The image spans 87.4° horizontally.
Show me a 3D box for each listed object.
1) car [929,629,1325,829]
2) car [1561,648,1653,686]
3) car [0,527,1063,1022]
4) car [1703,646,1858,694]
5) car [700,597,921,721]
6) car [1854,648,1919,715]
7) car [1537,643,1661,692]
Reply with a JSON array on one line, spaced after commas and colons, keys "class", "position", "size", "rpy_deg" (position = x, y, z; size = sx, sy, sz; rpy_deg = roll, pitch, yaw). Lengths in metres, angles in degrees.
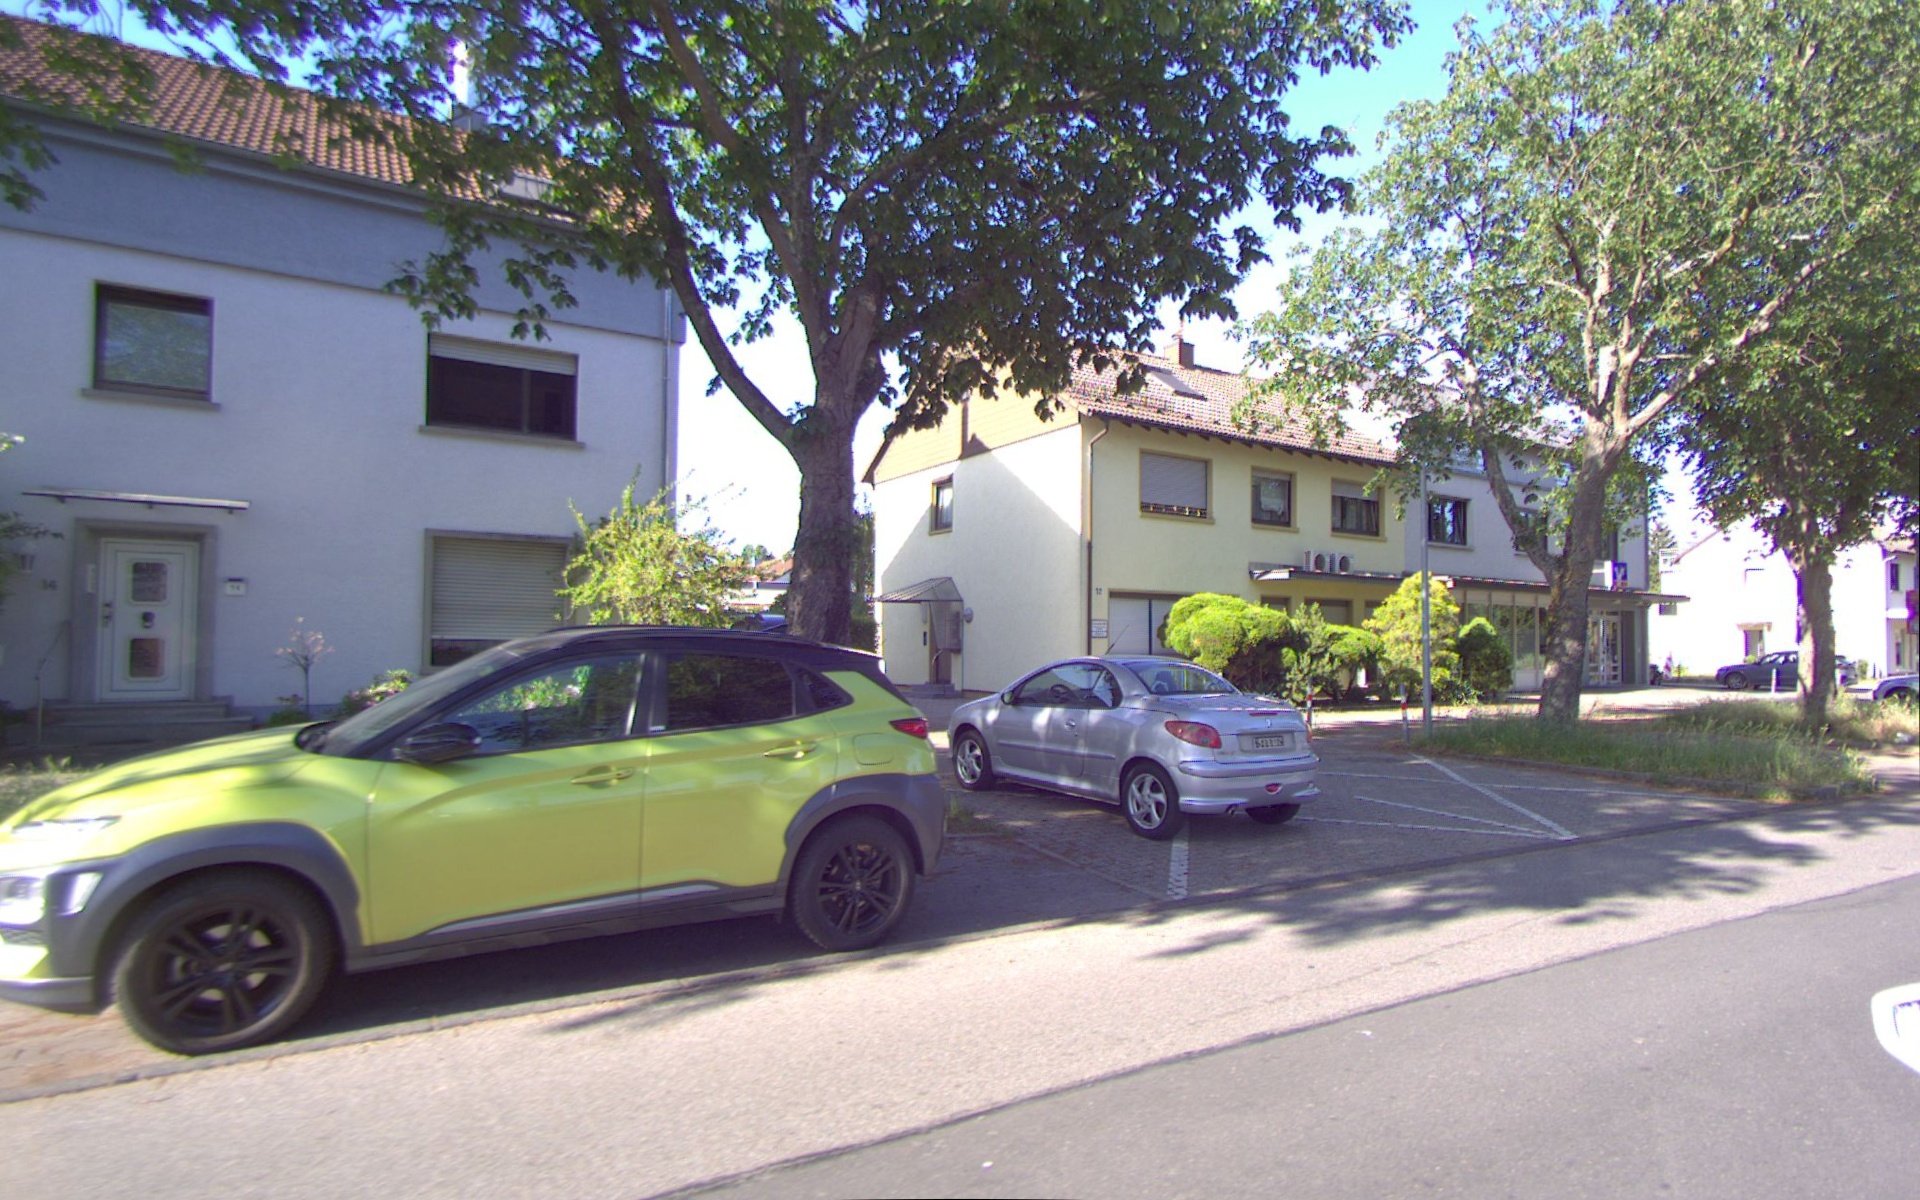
[{"class": "car", "position": [1.291, 0.983, 9.221], "size": [1.593, 1.319, 3.747], "rpy_deg": [0, 0, -30]}, {"class": "car", "position": [24.284, 2.492, 37.690], "size": [3.470, 1.253, 1.533], "rpy_deg": [1, 0, -31]}, {"class": "car", "position": [-1.824, 0.681, 5.156], "size": [4.331, 1.630, 1.931], "rpy_deg": [3, -1, -29]}, {"class": "car", "position": [33.457, 2.809, 41.076], "size": [1.978, 1.639, 4.528], "rpy_deg": [0, 0, -33]}, {"class": "car", "position": [-2.579, 0.832, 16.454], "size": [1.979, 1.737, 4.207], "rpy_deg": [0, 0, -34]}, {"class": "car", "position": [24.242, 2.002, 23.576], "size": [1.819, 1.531, 4.534], "rpy_deg": [0, 0, -29]}, {"class": "car", "position": [30.032, 3.128, 47.318], "size": [1.978, 1.953, 4.528], "rpy_deg": [0, 0, -33]}]
